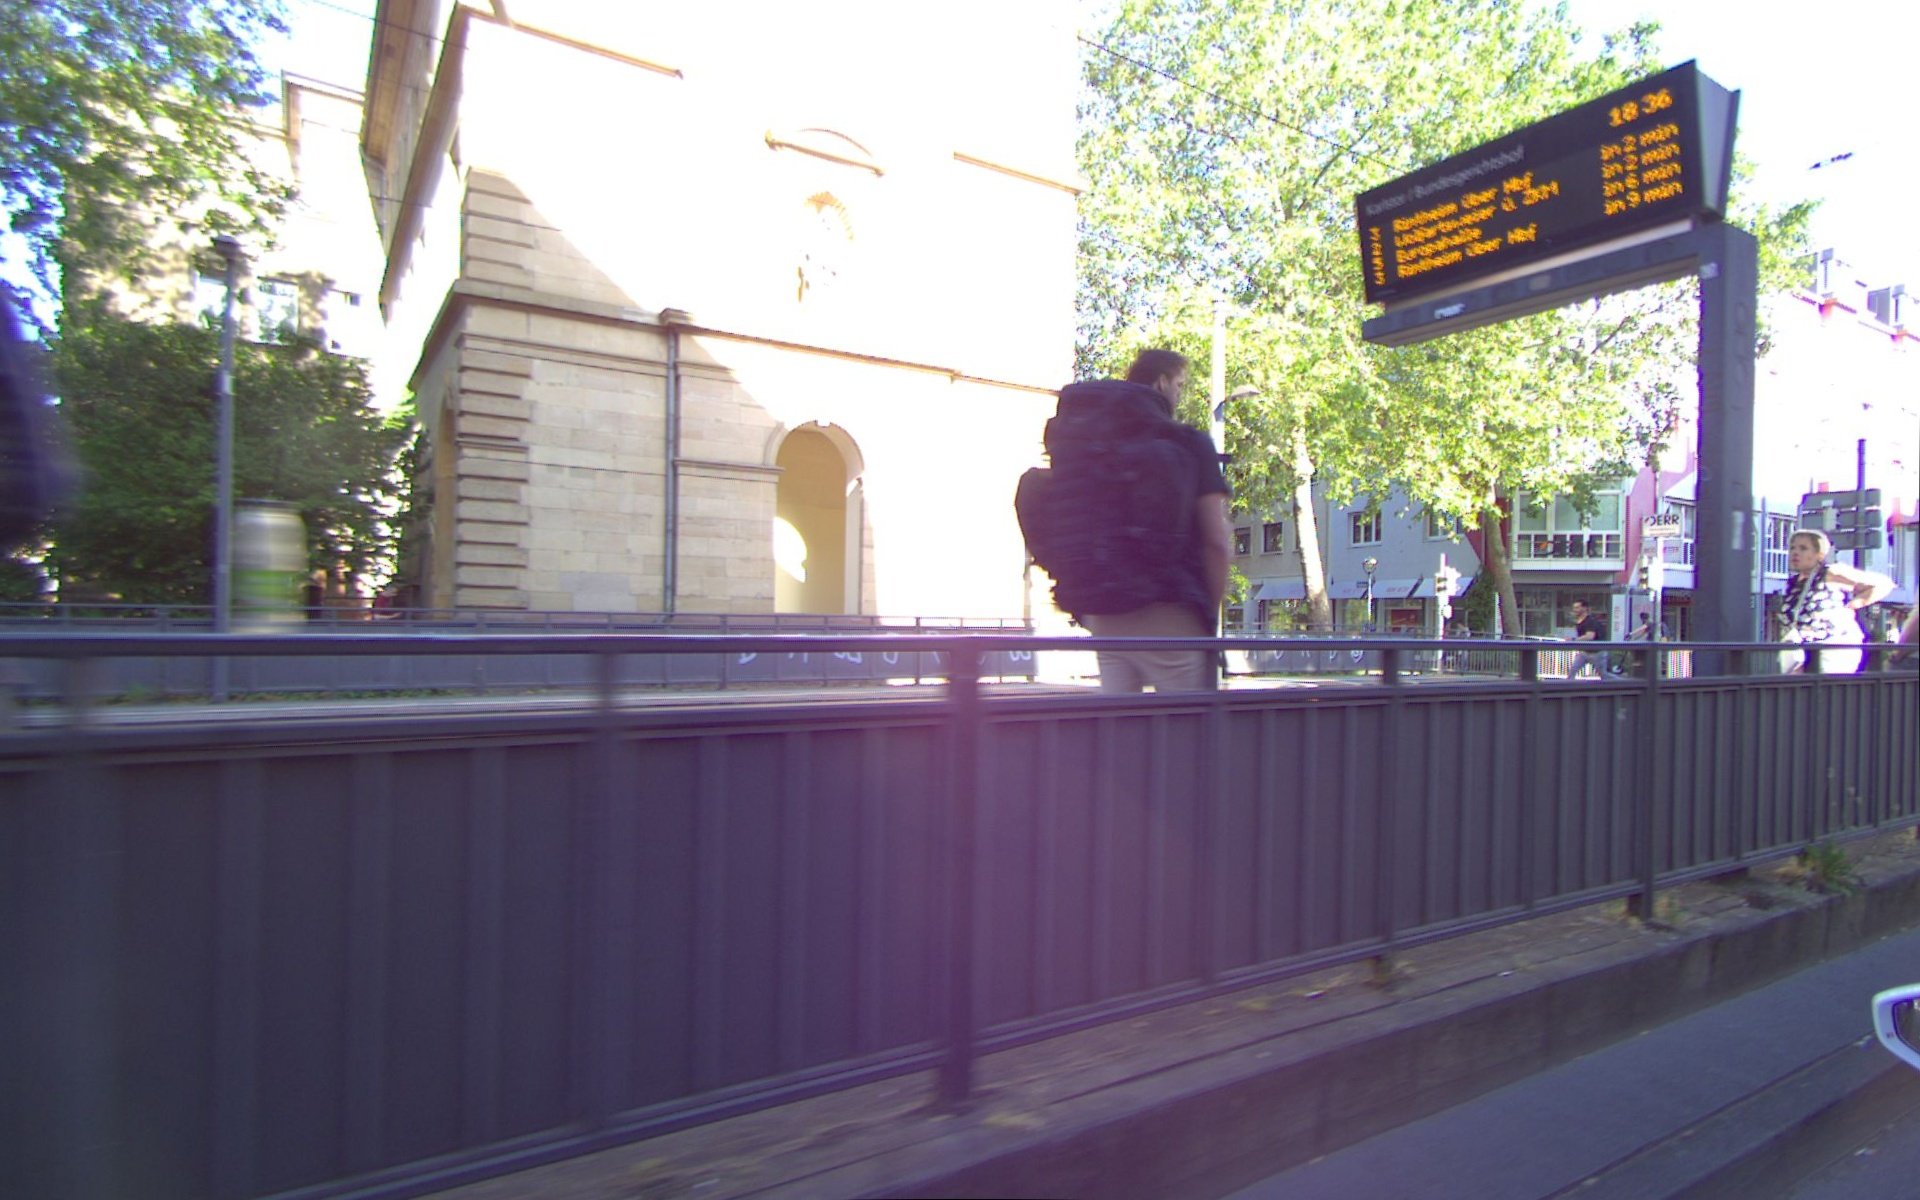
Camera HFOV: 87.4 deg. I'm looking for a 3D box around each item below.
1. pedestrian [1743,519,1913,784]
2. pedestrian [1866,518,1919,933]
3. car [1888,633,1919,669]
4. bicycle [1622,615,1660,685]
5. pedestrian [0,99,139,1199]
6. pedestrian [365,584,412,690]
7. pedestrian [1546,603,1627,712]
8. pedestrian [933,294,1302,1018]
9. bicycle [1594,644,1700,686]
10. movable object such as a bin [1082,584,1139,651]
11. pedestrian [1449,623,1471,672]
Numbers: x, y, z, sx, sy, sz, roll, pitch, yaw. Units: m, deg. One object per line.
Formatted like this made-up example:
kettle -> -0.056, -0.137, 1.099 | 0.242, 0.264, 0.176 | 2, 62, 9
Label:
pedestrian -> 6.162, 0.346, 7.145 | 0.583, 1.757, 0.759 | 1, 0, -30
pedestrian -> 5.349, 0.656, 5.374 | 0.798, 2.148, 0.535 | 1, -1, -31
car -> 45.513, 2.395, 47.140 | 4.324, 1.635, 1.906 | 2, -1, -34
bicycle -> 17.234, 1.243, 25.436 | 0.572, 1.738, 0.648 | 1, 0, 9
pedestrian -> -1.538, 0.167, 1.412 | 0.523, 1.691, 0.349 | 1, 0, -32
pedestrian -> -9.620, 0.615, 16.902 | 0.607, 1.735, 0.674 | 3, -1, -32
pedestrian -> 10.039, 0.902, 16.097 | 1.021, 1.690, 0.692 | 1, -1, -30
pedestrian -> 0.498, 0.142, 3.127 | 0.761, 1.855, 0.800 | 3, 1, 40
bicycle -> 17.359, 1.632, 25.409 | 2.126, 0.979, 0.648 | 1, -1, 9
movable object such as a bin -> 4.820, 0.558, 32.368 | 1.153, 2.040, 2.647 | 1, -1, -7
pedestrian -> 17.170, 1.618, 34.503 | 0.678, 1.658, 0.675 | 1, -1, 27
